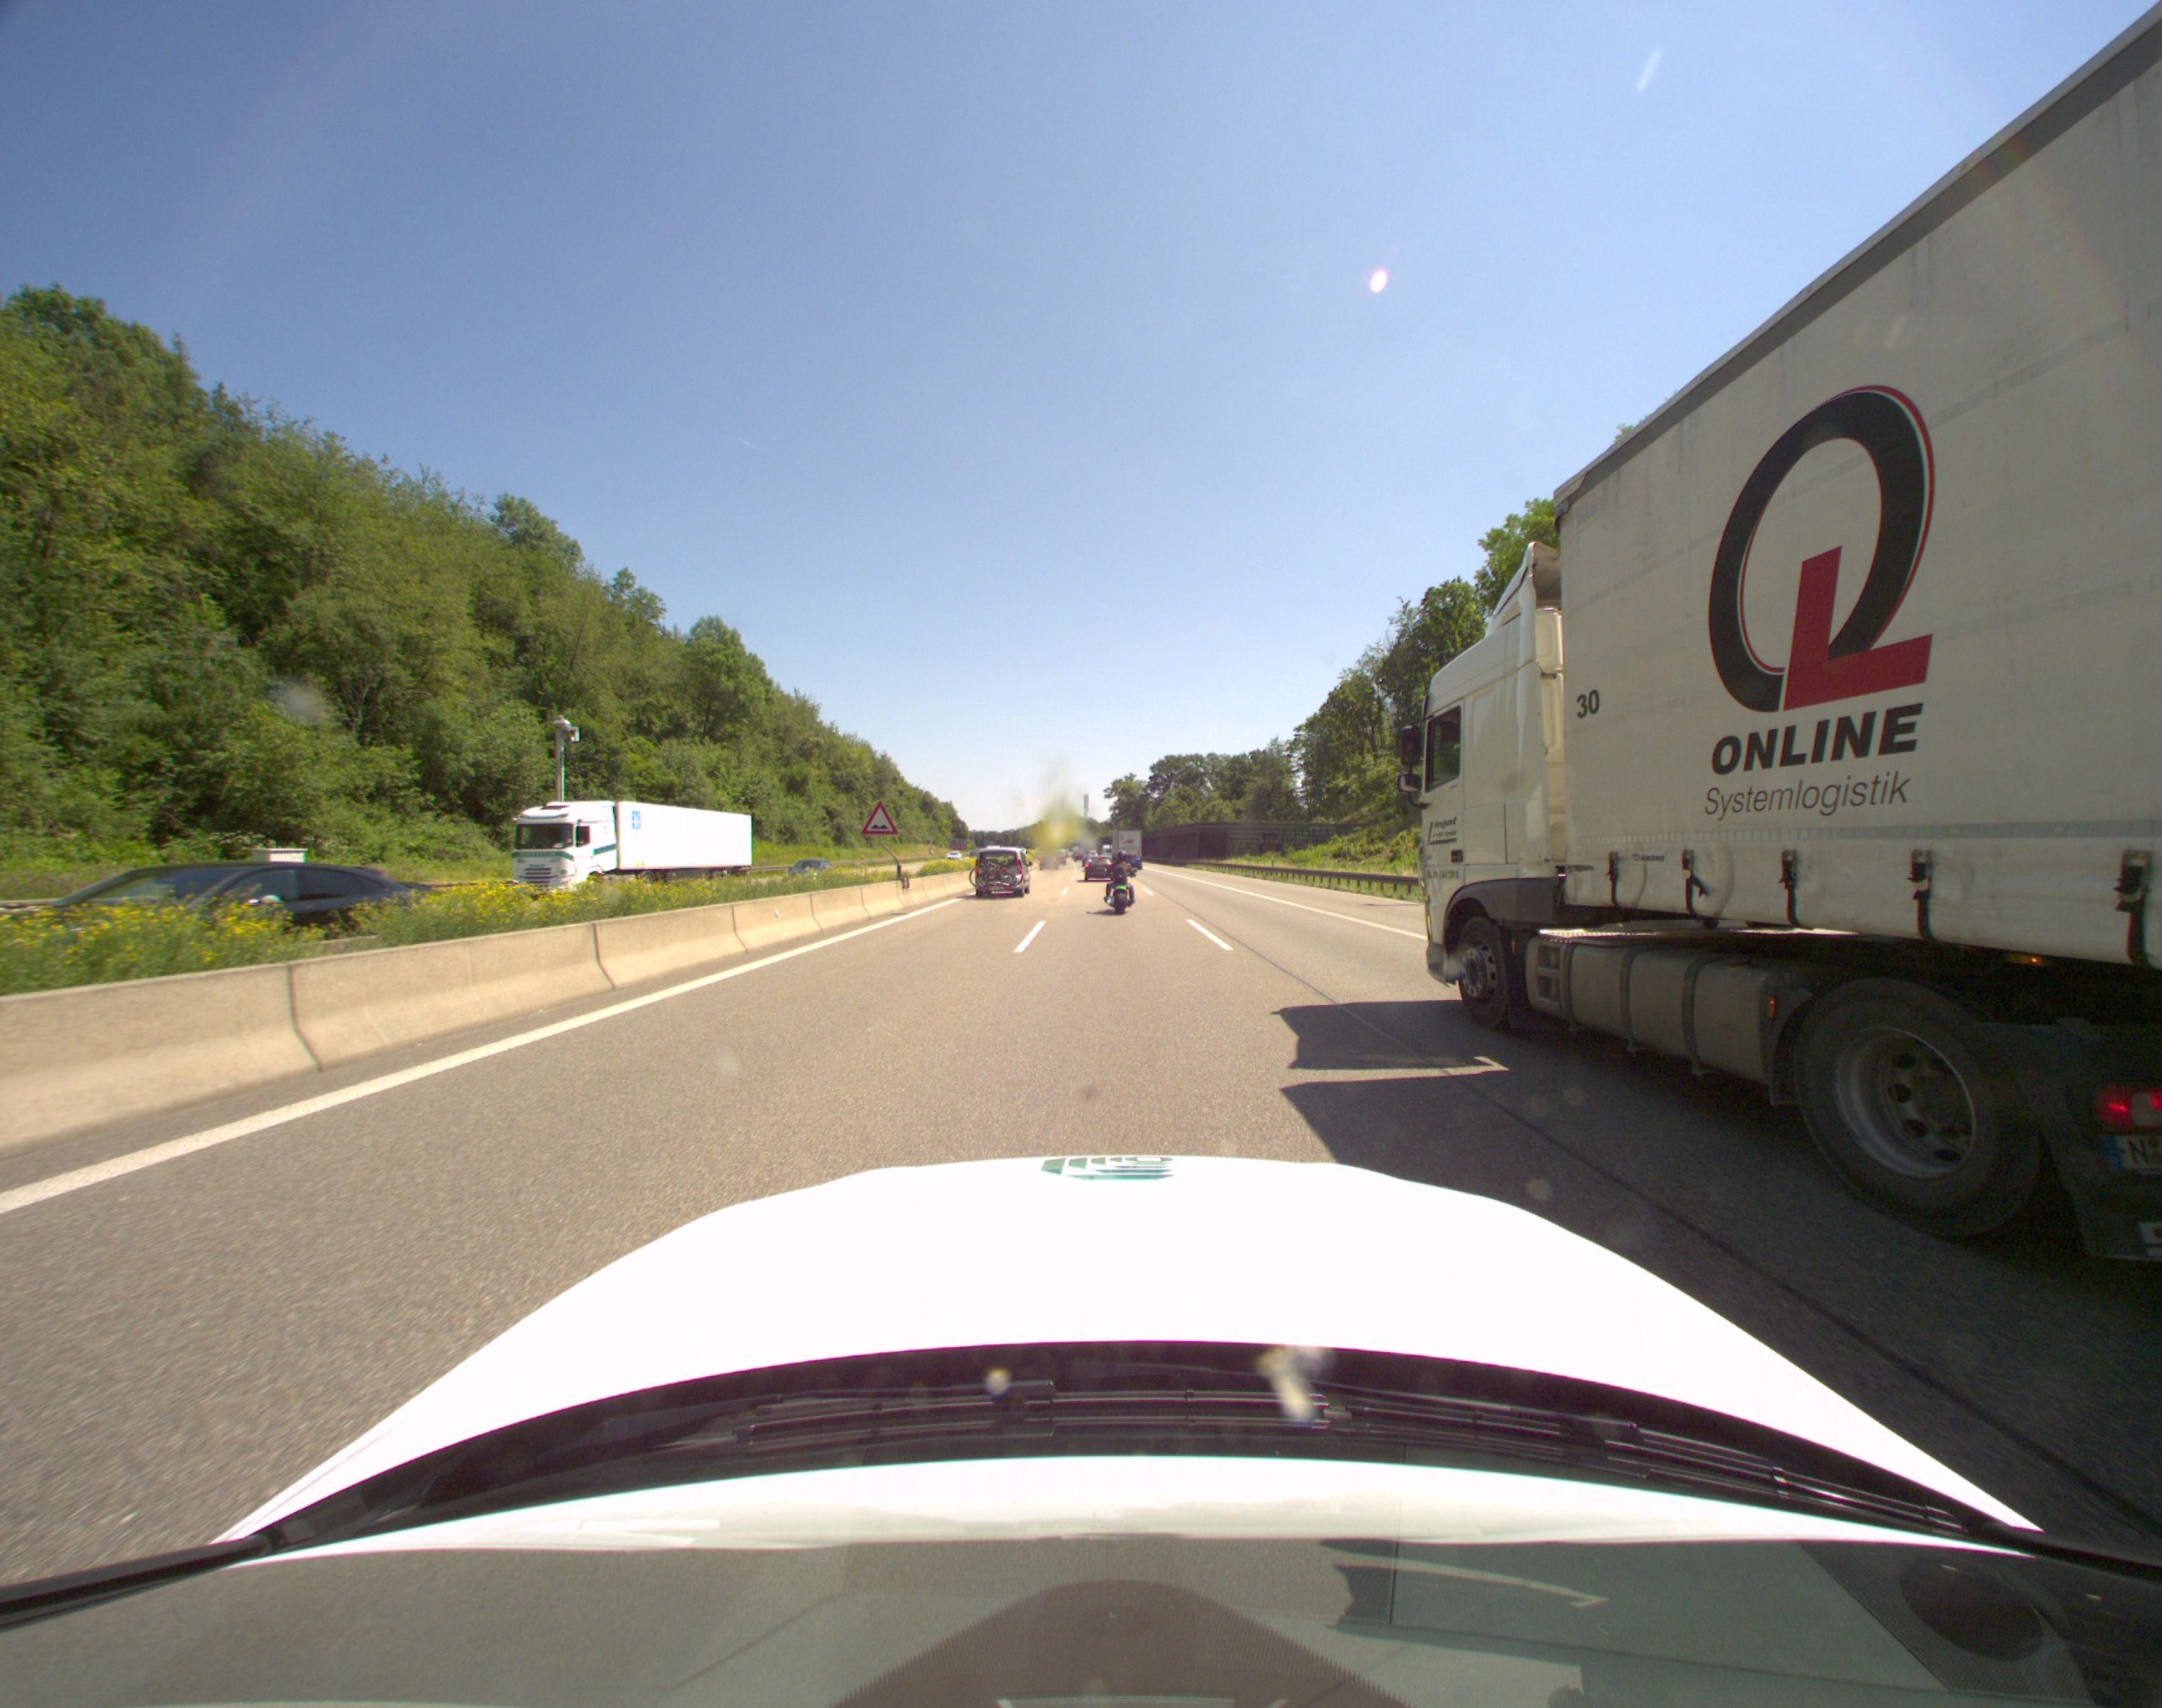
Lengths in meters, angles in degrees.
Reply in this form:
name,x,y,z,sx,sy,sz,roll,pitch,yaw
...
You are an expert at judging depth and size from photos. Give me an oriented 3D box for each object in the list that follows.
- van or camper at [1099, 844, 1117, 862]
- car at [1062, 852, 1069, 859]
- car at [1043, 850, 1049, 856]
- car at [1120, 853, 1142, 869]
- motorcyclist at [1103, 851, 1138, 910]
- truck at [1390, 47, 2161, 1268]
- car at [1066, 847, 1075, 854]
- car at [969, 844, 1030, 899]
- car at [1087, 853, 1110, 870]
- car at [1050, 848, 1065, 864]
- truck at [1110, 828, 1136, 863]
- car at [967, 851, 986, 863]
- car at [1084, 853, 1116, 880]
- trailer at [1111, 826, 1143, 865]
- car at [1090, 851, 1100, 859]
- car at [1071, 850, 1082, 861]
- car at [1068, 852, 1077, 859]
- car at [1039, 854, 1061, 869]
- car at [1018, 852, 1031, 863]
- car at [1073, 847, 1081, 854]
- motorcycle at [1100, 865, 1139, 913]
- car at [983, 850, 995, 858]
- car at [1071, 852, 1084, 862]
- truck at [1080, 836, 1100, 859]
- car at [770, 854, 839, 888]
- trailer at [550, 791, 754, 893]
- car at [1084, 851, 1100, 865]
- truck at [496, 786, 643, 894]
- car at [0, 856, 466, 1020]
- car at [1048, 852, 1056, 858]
name,x,y,z,sx,sy,sz,roll,pitch,yaw
van or camper,4.289,-0.132,129.409,2.676,2.813,6.802,0,-1,1
car,-3.790,0.343,199.078,1.827,1.496,3.740,0,-1,-2
car,-10.283,-0.332,238.148,1.828,1.496,3.738,0,-1,-3
car,4.678,0.703,76.807,1.647,1.483,4.476,0,-1,-3
motorcyclist,1.055,0.685,21.513,0.896,1.475,1.873,0,-1,3
truck,4.586,-0.703,5.730,2.775,4.204,5.872,0,1,2
car,-2.937,-0.845,226.104,2.103,1.876,3.994,0,-1,-4
car,-2.968,0.642,30.463,1.893,1.874,4.410,0,-1,-1
car,1.508,0.668,71.560,1.987,1.430,3.847,0,-1,0
car,-3.029,0.269,104.742,1.786,2.014,3.640,0,-1,-1
truck,5.018,-0.994,98.308,2.876,4.146,5.985,0,0,0
car,-13.784,0.427,107.697,1.986,1.486,4.000,0,-1,1
car,1.055,0.702,46.376,1.657,1.453,3.867,0,-1,-1
trailer,5.031,-0.944,91.475,2.876,4.038,13.793,0,0,0
car,2.883,0.227,170.508,1.987,1.574,3.998,0,-1,0
car,-0.892,0.352,159.181,1.907,2.014,3.686,0,-1,-3
car,-1.888,0.329,178.102,1.827,1.496,3.740,0,-1,-2
car,-2.944,0.703,77.432,1.987,1.387,3.998,0,-1,-1
car,-10.410,0.734,150.882,1.986,2.014,4.421,0,-1,1
car,-1.047,-0.884,220.697,2.103,1.876,3.994,0,-1,-4
motorcycle,1.042,0.895,21.778,0.960,1.148,2.814,0,0,3
car,-19.187,-0.043,169.720,1.988,1.616,4.482,0,0,-1
car,-0.582,0.477,134.445,1.988,1.640,3.998,0,-1,-1
truck,1.923,-1.346,182.476,3.796,4.960,8.935,0,-1,-4
car,-13.700,0.844,40.648,1.986,1.572,4.001,0,-1,1
trailer,-20.684,-0.400,40.943,2.706,4.208,13.932,0,-1,1
car,1.263,0.460,92.930,1.773,1.552,3.585,0,-1,1
truck,-20.794,-0.494,33.474,2.681,4.090,5.203,0,-1,1
car,-10.517,0.879,10.494,1.986,1.678,4.082,-1,0,2
car,-6.938,0.301,194.800,1.827,1.496,3.740,0,-1,-2
